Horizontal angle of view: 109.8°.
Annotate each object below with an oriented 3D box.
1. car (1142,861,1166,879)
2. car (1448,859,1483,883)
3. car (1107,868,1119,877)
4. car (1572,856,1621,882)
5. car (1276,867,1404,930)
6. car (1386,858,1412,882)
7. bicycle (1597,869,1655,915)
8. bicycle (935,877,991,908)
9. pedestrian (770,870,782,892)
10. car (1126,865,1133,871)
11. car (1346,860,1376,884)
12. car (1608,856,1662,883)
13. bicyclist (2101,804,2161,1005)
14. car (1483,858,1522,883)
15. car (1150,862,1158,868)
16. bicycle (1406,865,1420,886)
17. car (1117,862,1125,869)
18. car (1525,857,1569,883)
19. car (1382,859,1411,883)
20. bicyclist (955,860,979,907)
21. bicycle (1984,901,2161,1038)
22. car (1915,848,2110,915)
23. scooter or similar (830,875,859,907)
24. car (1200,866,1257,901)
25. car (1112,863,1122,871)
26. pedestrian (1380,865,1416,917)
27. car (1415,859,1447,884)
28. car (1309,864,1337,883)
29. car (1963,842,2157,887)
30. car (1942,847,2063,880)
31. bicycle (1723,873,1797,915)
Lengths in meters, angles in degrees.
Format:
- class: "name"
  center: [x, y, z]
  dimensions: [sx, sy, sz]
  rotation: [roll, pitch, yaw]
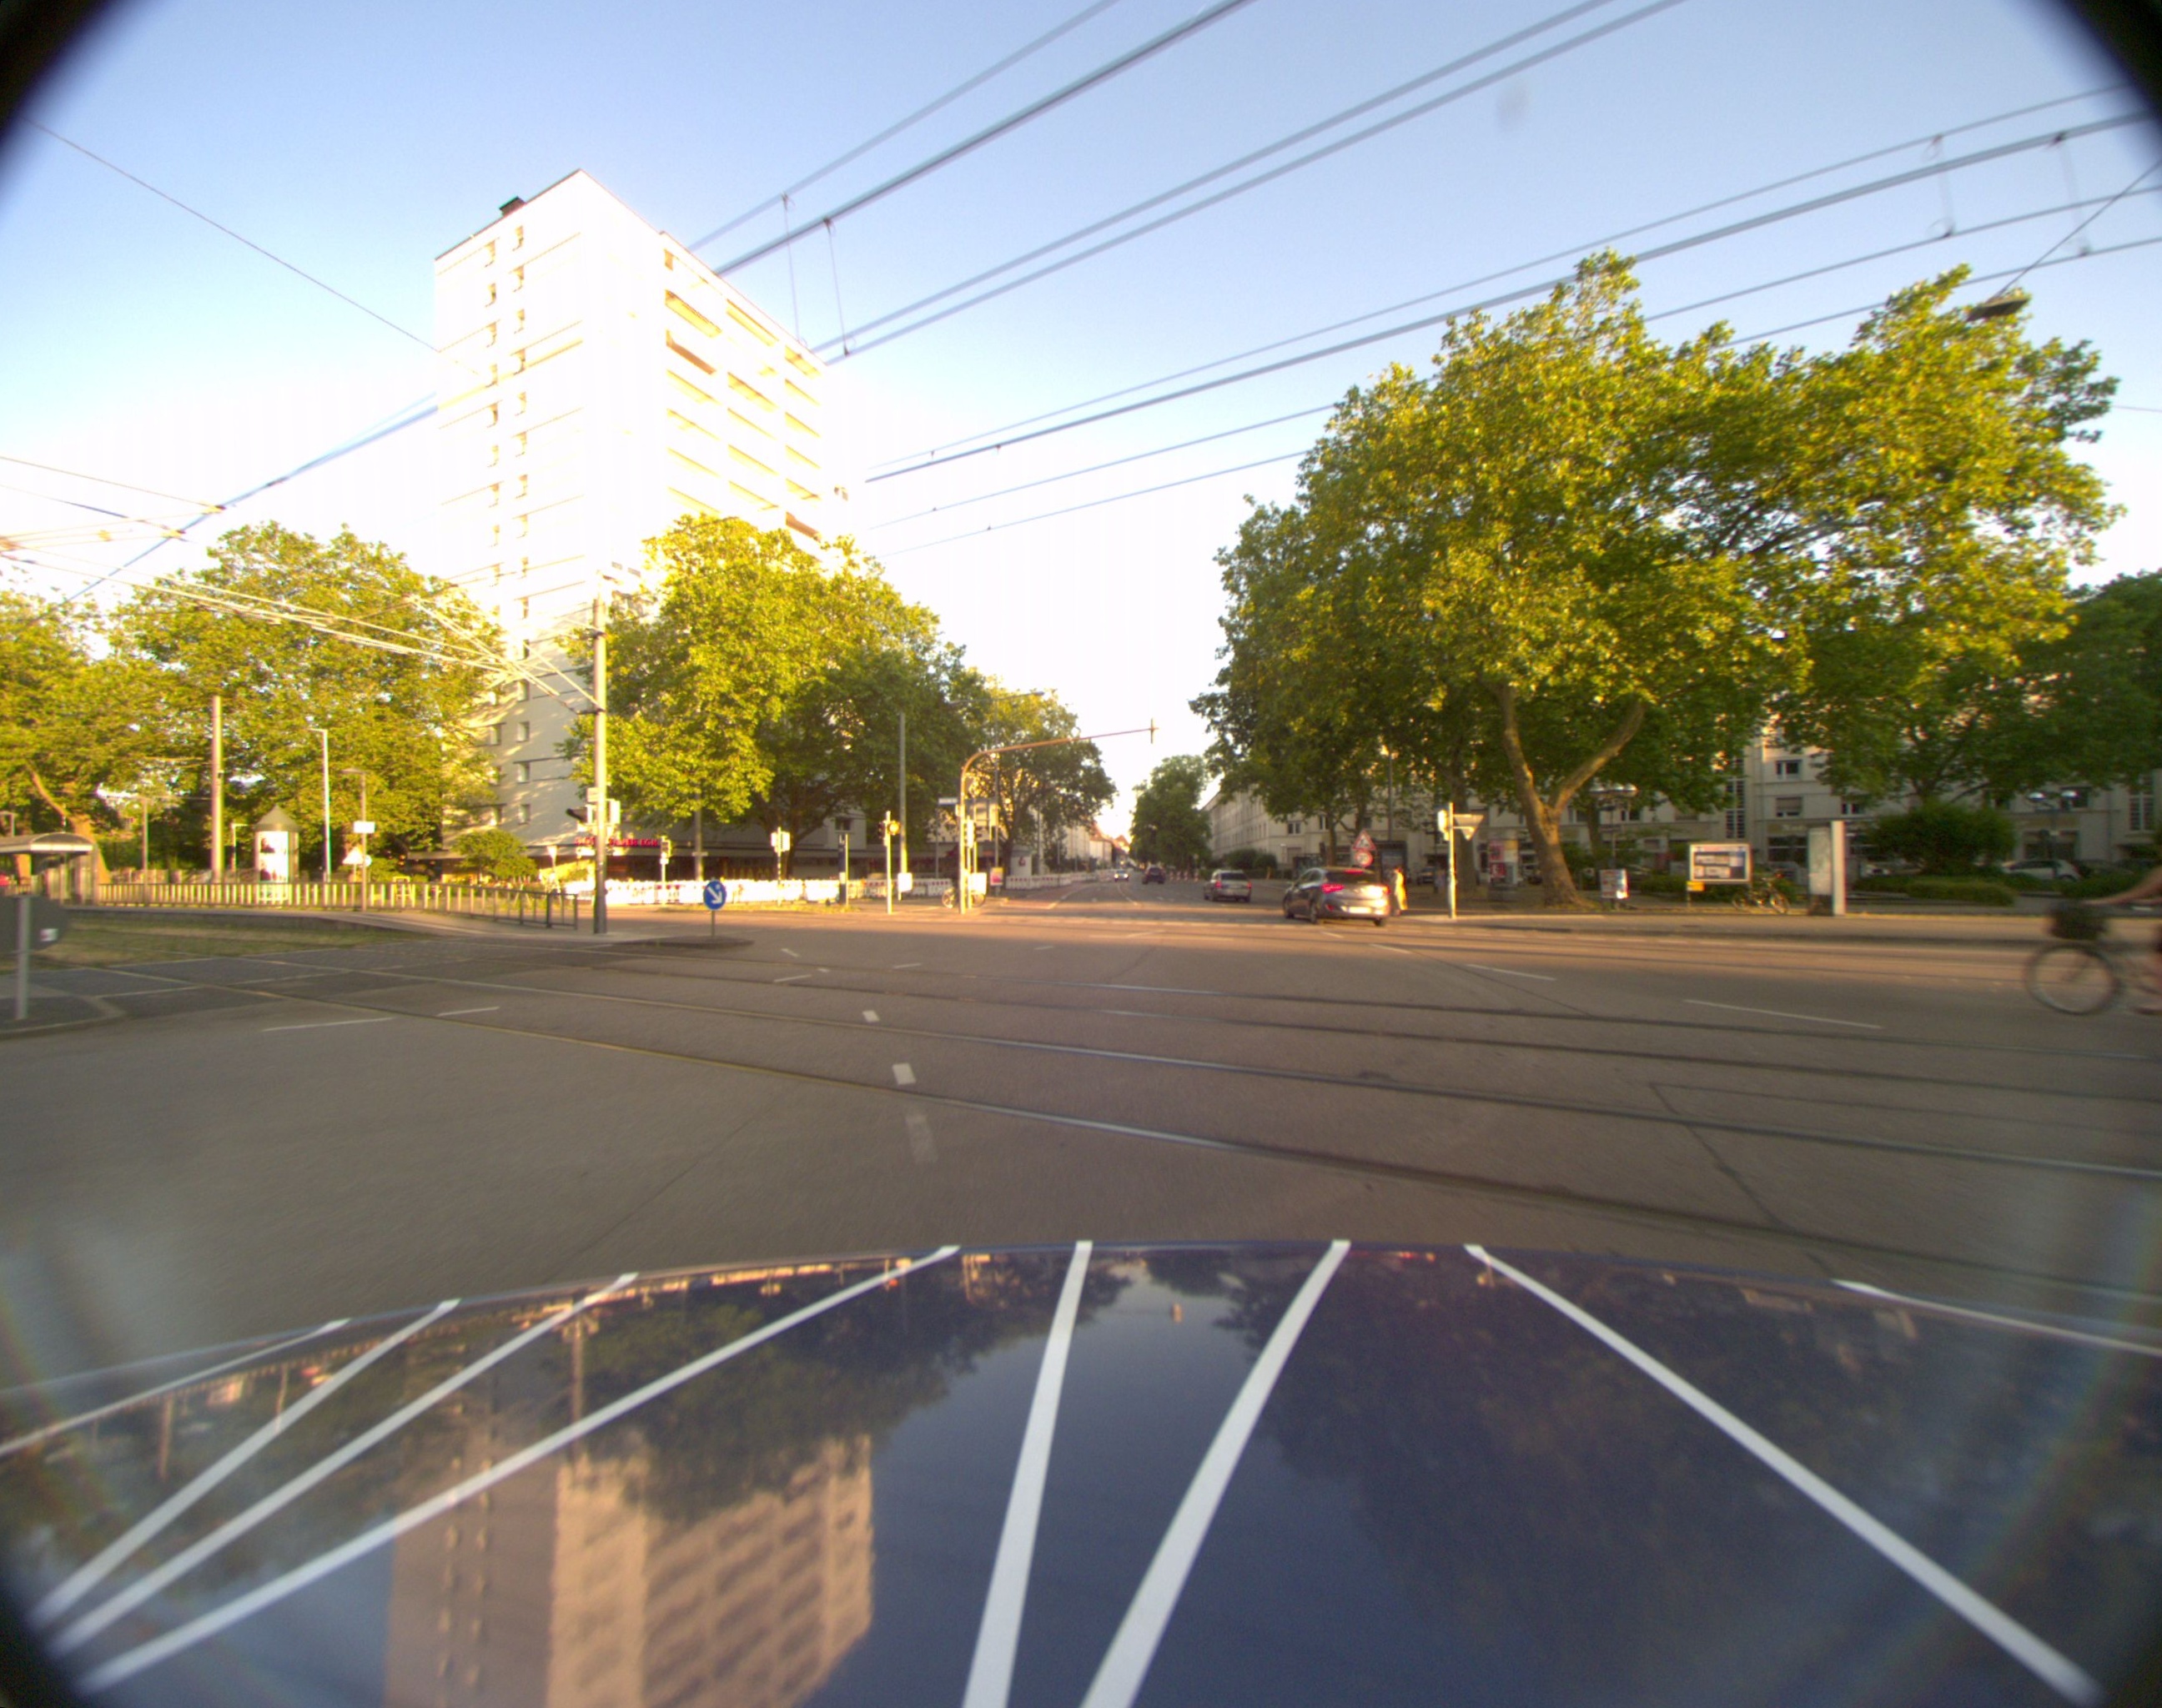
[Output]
- class: "car"
  center: [7.432, 1.656, 77.677]
  dimensions: [1.998, 1.773, 4.799]
  rotation: [-1, -1, 1]
- class: "car"
  center: [28.714, 1.298, 56.807]
  dimensions: [1.995, 1.770, 4.650]
  rotation: [0, -2, 23]
- class: "car"
  center: [6.212, 3.573, 147.980]
  dimensions: [1.892, 1.591, 4.262]
  rotation: [-2, 0, 7]
- class: "car"
  center: [36.203, 1.102, 53.471]
  dimensions: [1.995, 1.770, 4.650]
  rotation: [0, -2, 23]
- class: "car"
  center: [6.595, 1.078, 19.872]
  dimensions: [1.998, 1.468, 4.140]
  rotation: [0, -1, 1]
- class: "car"
  center: [28.610, 1.364, 68.324]
  dimensions: [1.995, 1.944, 4.648]
  rotation: [0, 1, 25]
- class: "bicycle"
  center: [16.753, 1.135, 23.416]
  dimensions: [0.526, 1.318, 1.995]
  rotation: [-2, 0, 7]
- class: "bicycle"
  center: [-4.617, 1.506, 29.753]
  dimensions: [2.075, 1.103, 0.627]
  rotation: [-2, 0, -30]
- class: "pedestrian"
  center: [-21.673, 1.914, 53.968]
  dimensions: [0.642, 1.579, 0.745]
  rotation: [-2, 0, -34]
- class: "car"
  center: [16.081, 4.655, 252.484]
  dimensions: [1.892, 1.591, 4.262]
  rotation: [-2, 0, 7]
- class: "car"
  center: [22.003, 1.414, 59.544]
  dimensions: [1.995, 1.770, 4.650]
  rotation: [0, -2, 23]
- class: "car"
  center: [38.499, 1.107, 52.920]
  dimensions: [1.995, 1.770, 4.650]
  rotation: [0, -2, 23]
- class: "bicyclist"
  center: [9.068, 0.403, 6.039]
  dimensions: [0.600, 1.635, 0.963]
  rotation: [-2, 0, 1]
- class: "car"
  center: [30.924, 1.242, 55.823]
  dimensions: [1.995, 1.770, 4.650]
  rotation: [0, -2, 23]
- class: "car"
  center: [20.732, 3.058, 215.651]
  dimensions: [1.892, 1.591, 4.262]
  rotation: [-2, 0, 7]
- class: "bicycle"
  center: [23.686, 1.525, 54.202]
  dimensions: [0.690, 1.375, 2.750]
  rotation: [-2, 0, 27]
- class: "car"
  center: [10.703, 3.103, 204.845]
  dimensions: [1.892, 1.591, 4.262]
  rotation: [-2, 0, 7]
- class: "car"
  center: [33.380, 1.189, 54.544]
  dimensions: [1.995, 1.770, 4.650]
  rotation: [0, -2, 23]
- class: "car"
  center: [24.456, 1.375, 58.857]
  dimensions: [1.995, 1.770, 4.650]
  rotation: [0, -2, 23]
- class: "bicyclist"
  center: [-4.478, 1.144, 29.829]
  dimensions: [0.700, 1.813, 0.627]
  rotation: [-2, 0, -30]
- class: "bicycle"
  center: [9.121, 0.979, 6.452]
  dimensions: [0.600, 1.037, 1.946]
  rotation: [-2, 0, 1]
- class: "car"
  center: [27.540, 0.820, 22.730]
  dimensions: [1.995, 1.770, 4.651]
  rotation: [0, -2, 27]
- class: "scooter or similar"
  center: [-9.499, 1.462, 30.489]
  dimensions: [1.231, 1.242, 0.516]
  rotation: [-2, 0, 42]
- class: "car"
  center: [6.987, 1.373, 36.474]
  dimensions: [1.998, 1.548, 4.770]
  rotation: [0, -1, 3]
- class: "car"
  center: [8.000, 2.902, 168.769]
  dimensions: [1.892, 1.651, 4.262]
  rotation: [-2, 0, 7]
- class: "pedestrian"
  center: [10.221, 1.174, 24.517]
  dimensions: [0.804, 1.618, 0.773]
  rotation: [-2, 0, -3]
- class: "car"
  center: [26.548, 1.349, 57.737]
  dimensions: [1.995, 1.770, 4.650]
  rotation: [0, -2, 23]
- class: "car"
  center: [19.456, 1.607, 61.281]
  dimensions: [1.996, 1.494, 4.648]
  rotation: [0, -2, 16]
- class: "car"
  center: [40.081, 0.447, 31.274]
  dimensions: [4.490, 1.770, 2.004]
  rotation: [0, -2, 22]
- class: "car"
  center: [49.254, 0.509, 40.727]
  dimensions: [3.752, 1.652, 1.677]
  rotation: [-2, 0, 28]
- class: "bicycle"
  center: [18.987, 1.091, 21.297]
  dimensions: [0.459, 1.086, 1.799]
  rotation: [-2, 0, 0]
